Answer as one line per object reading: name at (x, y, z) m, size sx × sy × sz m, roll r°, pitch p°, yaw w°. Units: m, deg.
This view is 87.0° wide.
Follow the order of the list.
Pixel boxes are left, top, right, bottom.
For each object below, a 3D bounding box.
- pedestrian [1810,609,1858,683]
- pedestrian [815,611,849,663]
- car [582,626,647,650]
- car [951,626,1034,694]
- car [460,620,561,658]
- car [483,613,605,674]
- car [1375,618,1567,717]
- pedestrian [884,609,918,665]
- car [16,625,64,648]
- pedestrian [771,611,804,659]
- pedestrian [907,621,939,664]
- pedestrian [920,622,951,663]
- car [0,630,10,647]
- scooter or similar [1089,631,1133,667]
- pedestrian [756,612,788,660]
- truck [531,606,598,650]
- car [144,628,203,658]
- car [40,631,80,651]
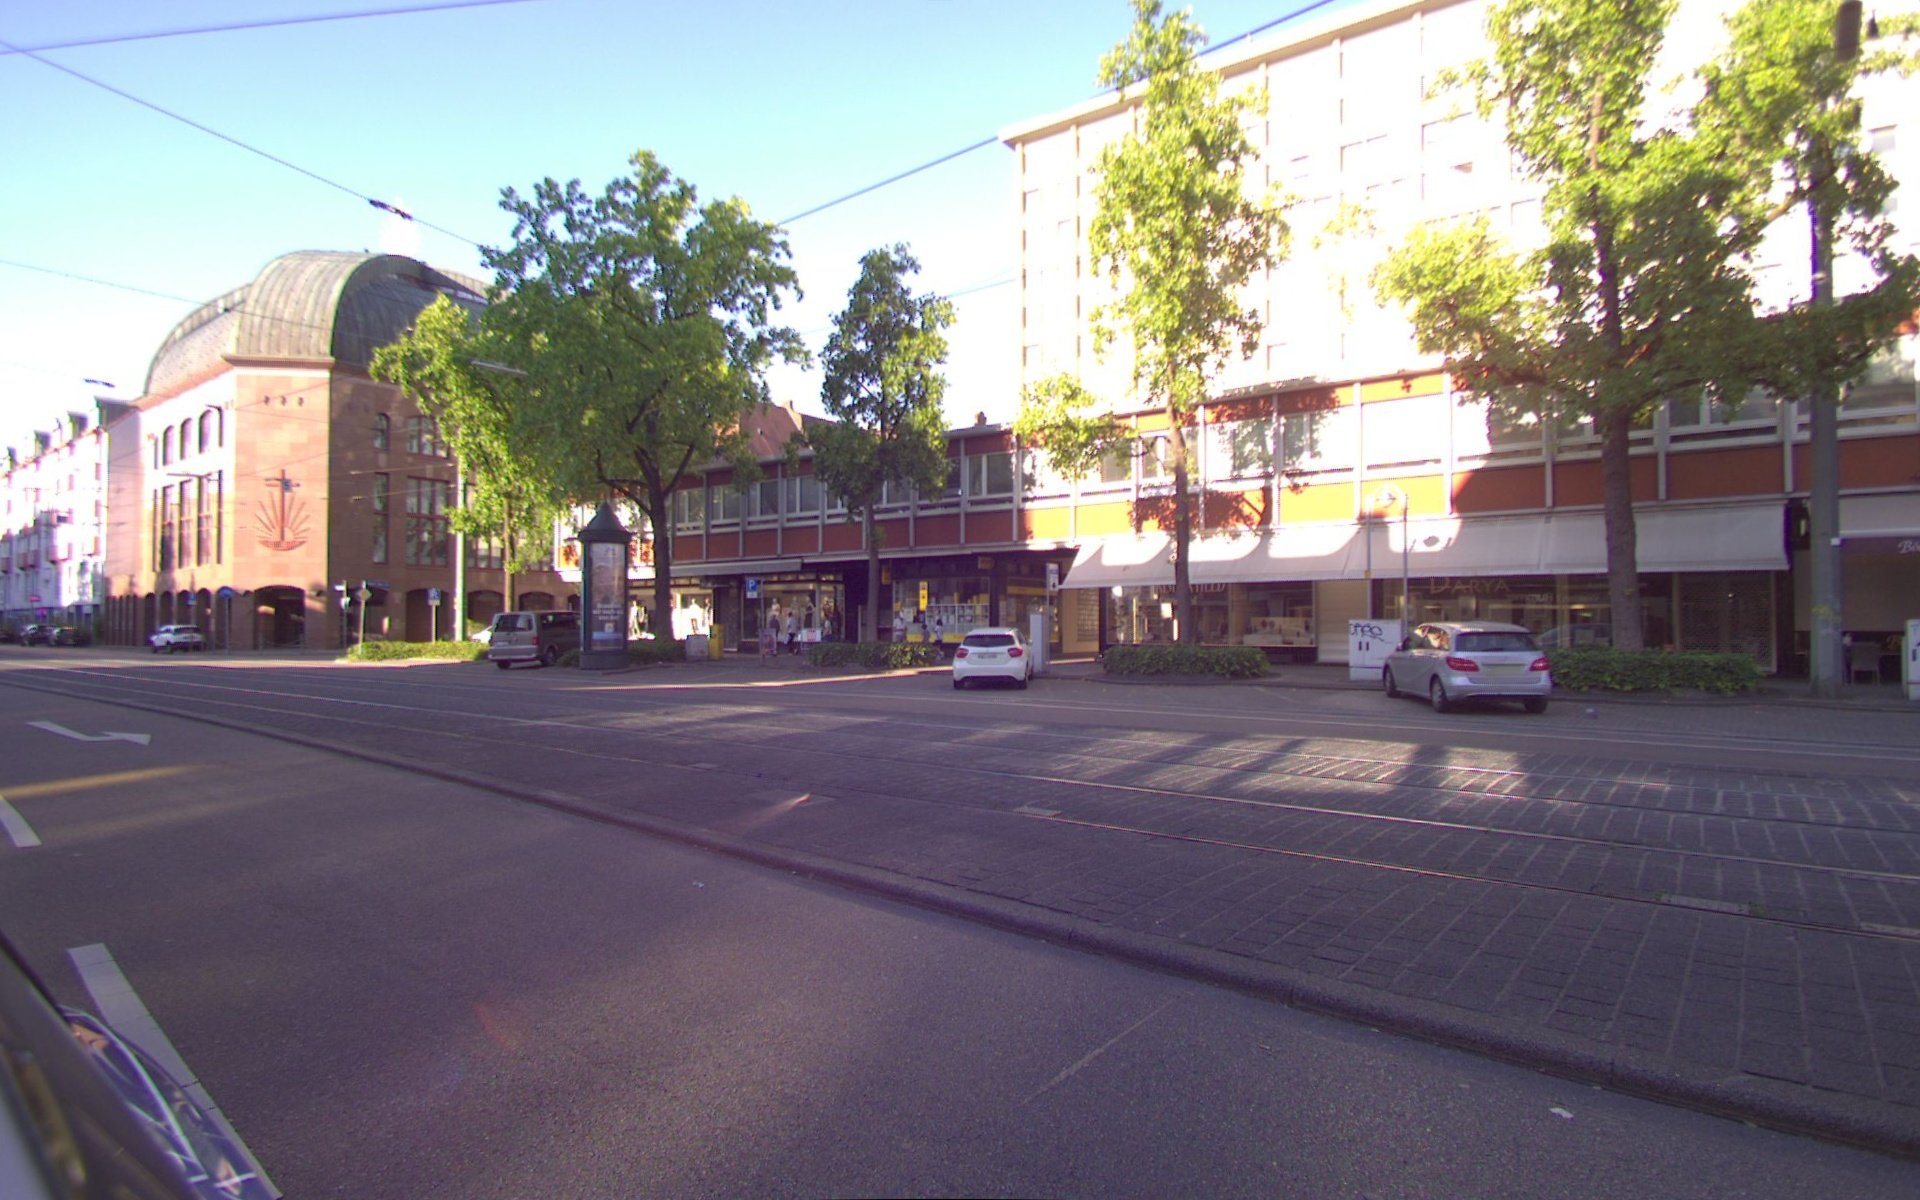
pedestrian at (18.955, 0.988, 21.957) m, size 0.705 × 1.575 × 0.864 m, roll -2°, pitch -2°, yaw 38°
pedestrian at (-4.773, 1.377, 37.875) m, size 0.898 × 1.892 × 0.908 m, roll -1°, pitch -2°, yaw 36°
car at (-23.522, 2.573, 68.908) m, size 4.519 × 1.585 × 1.835 m, roll -1°, pitch -2°, yaw 34°
car at (0.888, 1.428, 25.363) m, size 1.745 × 1.440 × 4.261 m, roll -1°, pitch 0°, yaw 6°
car at (-26.003, 2.229, 58.688) m, size 2.128 × 1.982 × 4.934 m, roll 2°, pitch 0°, yaw 36°
car at (-14.704, 1.467, 36.132) m, size 1.831 × 1.943 × 5.112 m, roll 0°, pitch 0°, yaw 6°
car at (9.320, 1.152, 18.865) m, size 1.805 × 1.578 × 4.271 m, roll 0°, pitch 0°, yaw 7°
pedestrian at (-2.027, 1.252, 34.505) m, size 0.903 × 1.892 × 0.903 m, roll 1°, pitch -2°, yaw -24°
car at (-71.855, 2.832, 79.027) m, size 4.552 × 1.713 × 1.941 m, roll -1°, pitch -1°, yaw 37°
pedestrian at (-7.086, 1.429, 41.564) m, size 0.898 × 1.963 × 0.984 m, roll -1°, pitch -2°, yaw 36°
pedestrian at (-1.308, 1.495, 35.964) m, size 0.898 × 1.509 × 0.681 m, roll -1°, pitch -2°, yaw 36°
pedestrian at (-0.897, 1.530, 36.534) m, size 0.898 × 1.481 × 0.681 m, roll -1°, pitch -2°, yaw 36°
car at (-86.717, 3.462, 90.588) m, size 4.555 × 1.520 × 1.807 m, roll -1°, pitch -1°, yaw 38°
scooter or similar at (4.816, 1.555, 32.339) m, size 1.335 × 1.102 × 0.470 m, roll -1°, pitch -1°, yaw 36°
pedestrian at (-7.527, 1.442, 40.491) m, size 0.898 × 1.892 × 0.908 m, roll -1°, pitch -2°, yaw 36°
truck at (-25.753, 1.809, 65.917) m, size 4.519 × 2.784 × 1.835 m, roll -1°, pitch -2°, yaw 34°
car at (-45.370, 2.463, 58.349) m, size 4.269 × 1.602 × 1.581 m, roll -1°, pitch 0°, yaw 36°
car at (-66.461, 3.037, 74.745) m, size 3.679 × 1.411 × 1.626 m, roll -1°, pitch -1°, yaw 39°
